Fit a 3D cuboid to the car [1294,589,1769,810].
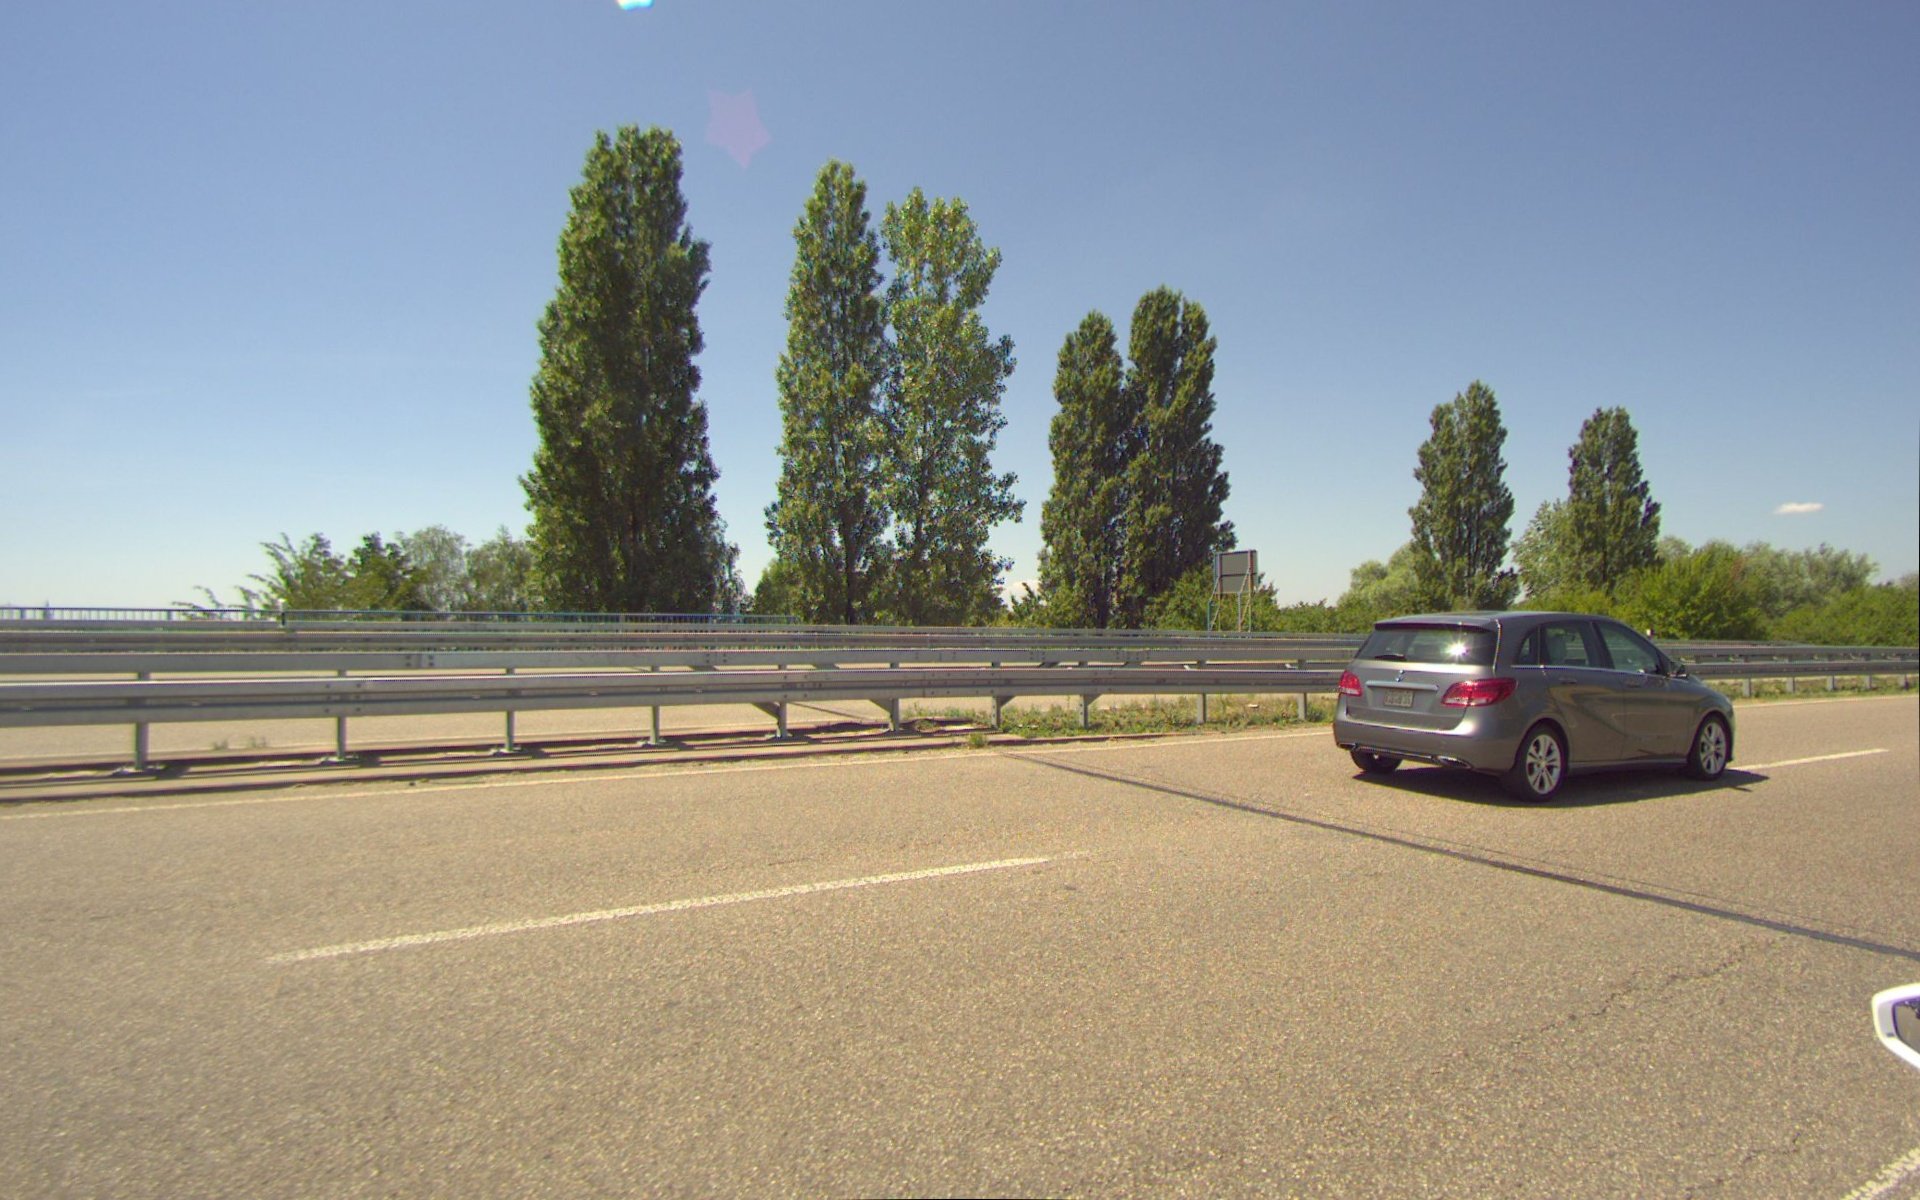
[{"bbox_3d":[5.484,0.804,9.528,4.497,1.690,1.786,1,0,-28],"label":"car"}]
